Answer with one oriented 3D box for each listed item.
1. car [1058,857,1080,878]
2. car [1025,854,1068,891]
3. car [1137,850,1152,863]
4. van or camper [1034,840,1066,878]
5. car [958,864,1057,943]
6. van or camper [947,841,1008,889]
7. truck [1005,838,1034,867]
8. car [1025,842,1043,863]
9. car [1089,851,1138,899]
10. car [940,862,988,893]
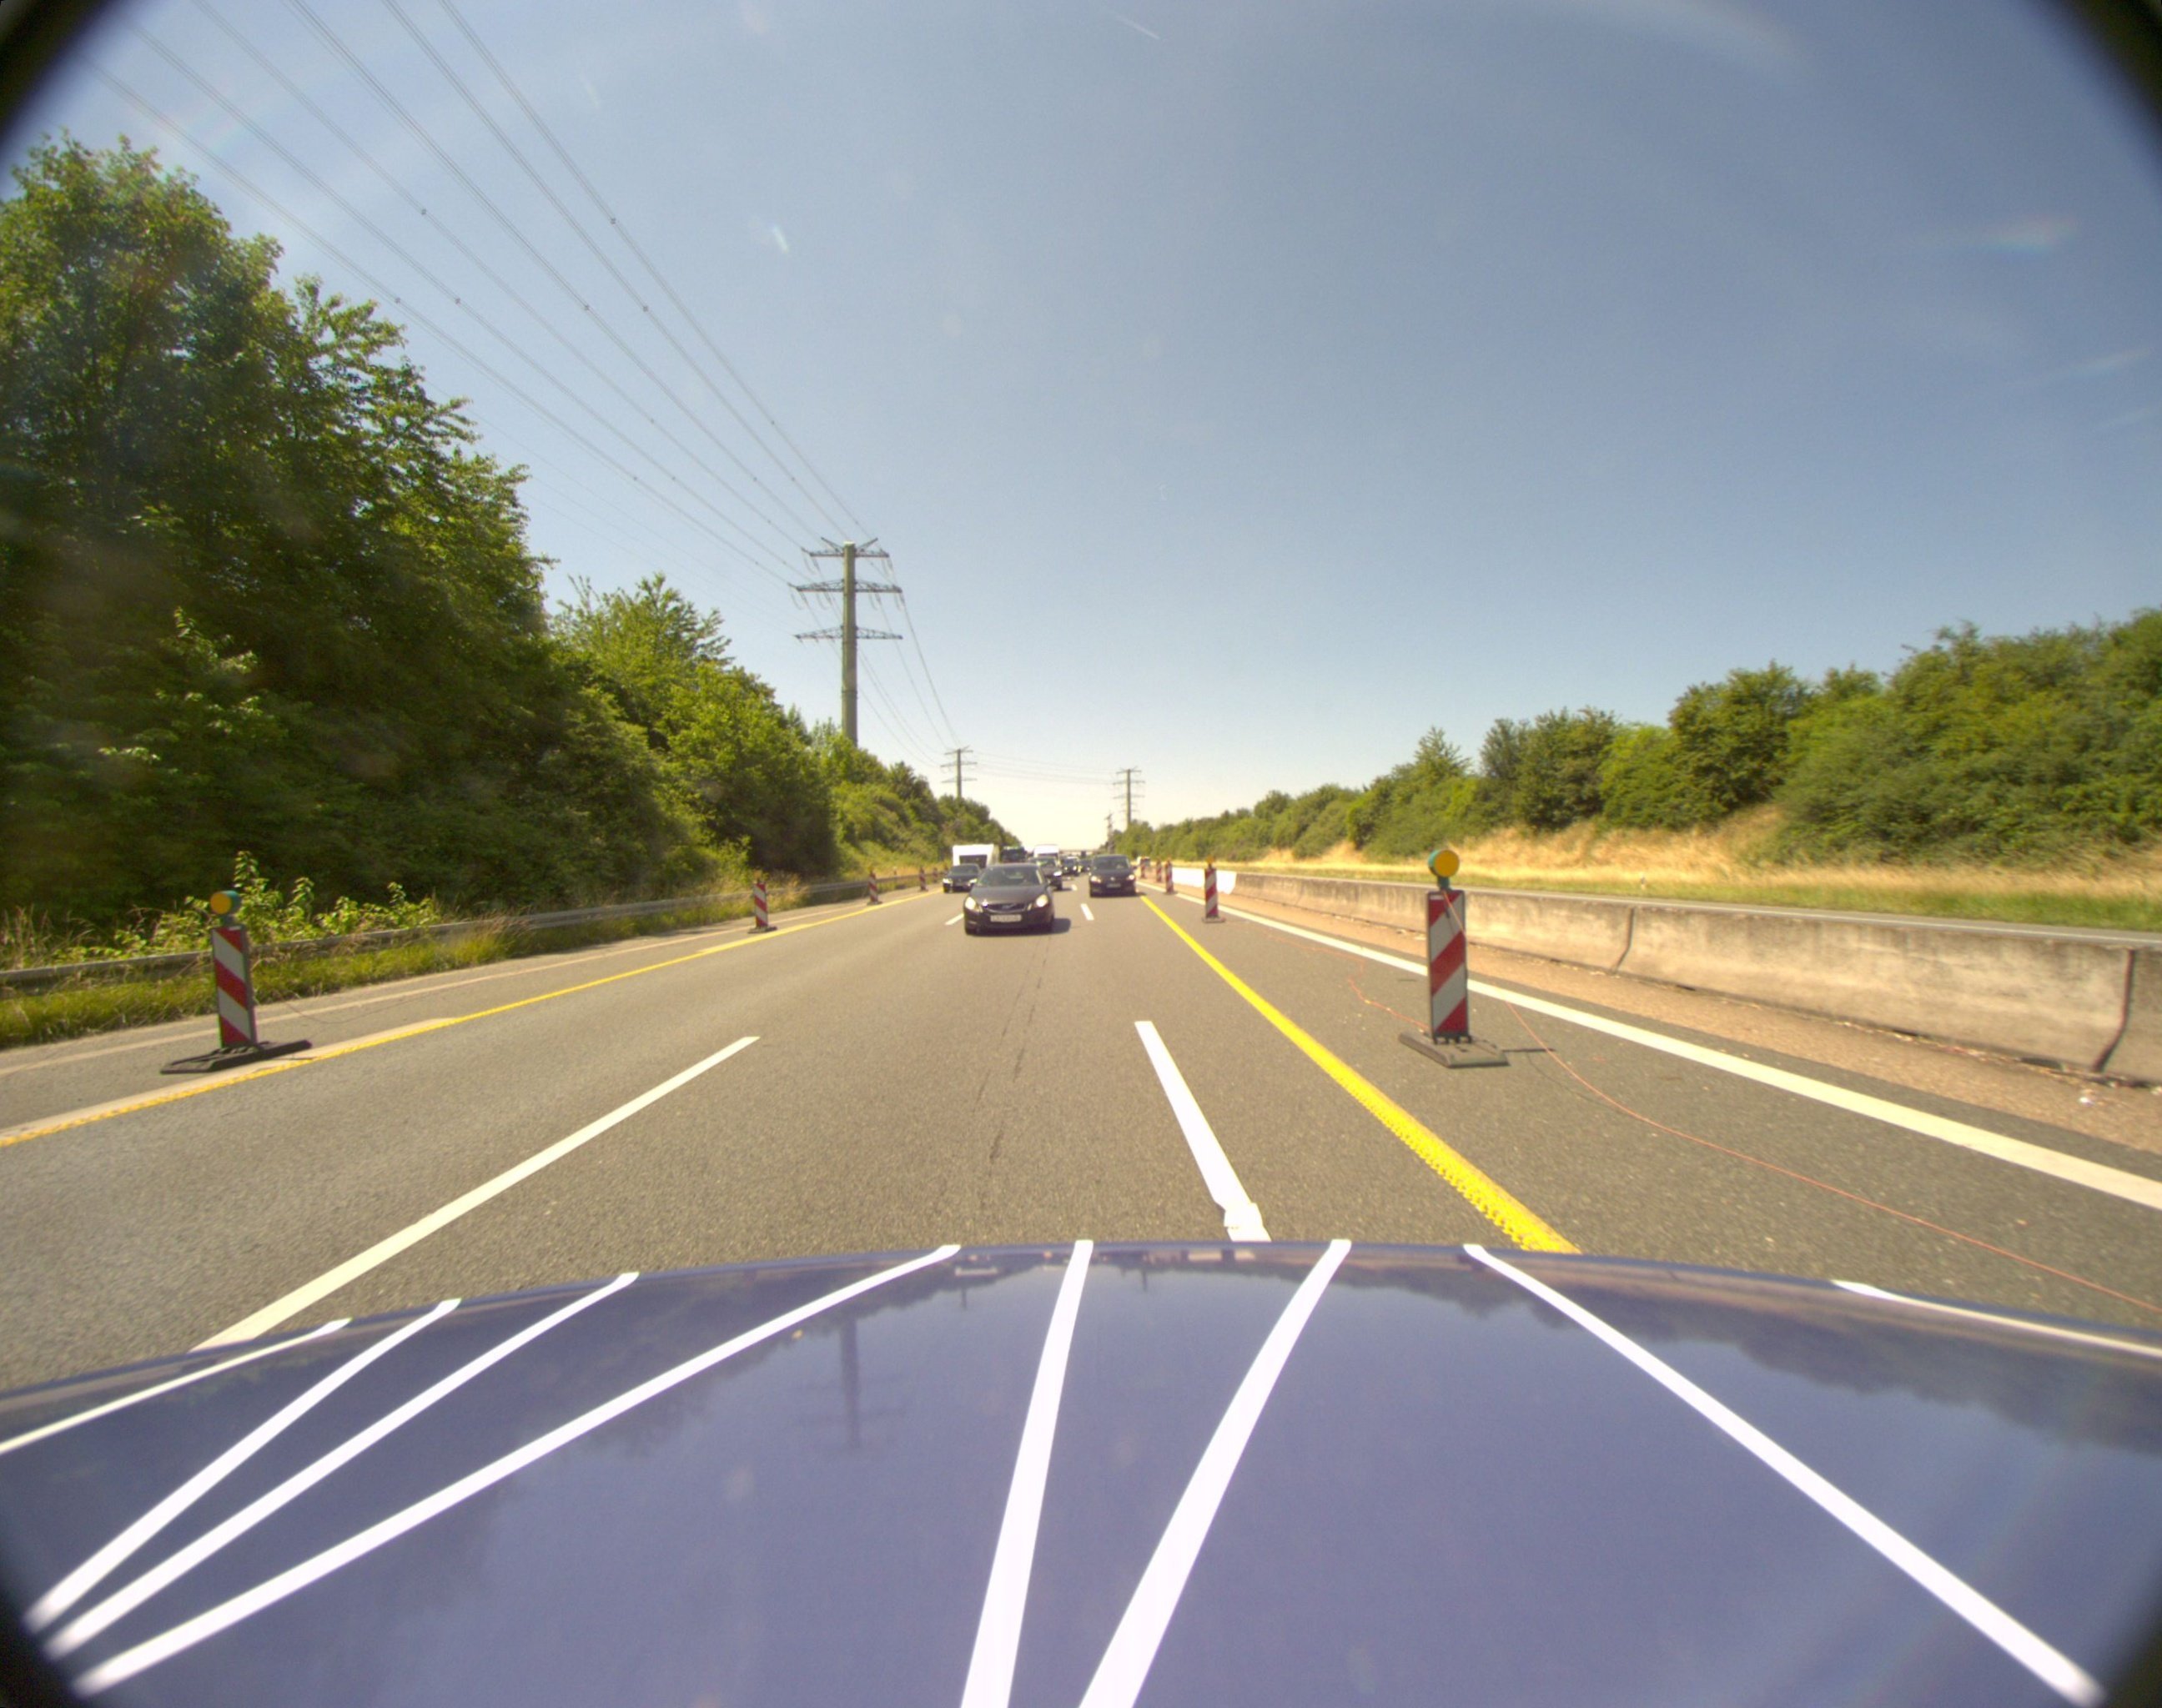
[{"bbox_3d":[-1.057,1.088,63.819,1.745,1.658,4.156,-2,0,-2],"label":"car"},{"bbox_3d":[-1.605,0.862,36.867,1.744,1.658,4.157,-2,0,1],"label":"car"},{"bbox_3d":[10.500,0.462,126.136,1.968,2.073,4.937,-1,1,0],"label":"car"},{"bbox_3d":[-2.167,0.345,54.937,1.998,2.604,5.629,0,0,1],"label":"van or camper"},{"bbox_3d":[-1.517,1.006,17.003,1.799,1.432,4.000,-2,0,0],"label":"car"},{"bbox_3d":[-6.034,0.581,45.434,2.432,2.549,8.416,-2,0,0],"label":"van or camper"},{"bbox_3d":[-7.098,-0.194,88.506,2.431,3.122,7.648,-4,0,1],"label":"truck"},{"bbox_3d":[-8.672,-0.278,140.595,2.397,3.779,10.272,-2,0,0],"label":"car"},{"bbox_3d":[1.212,0.764,29.634,1.675,1.619,4.691,-3,0,1],"label":"car"},{"bbox_3d":[-5.965,1.172,39.141,1.801,1.399,4.209,-2,0,0],"label":"car"}]
